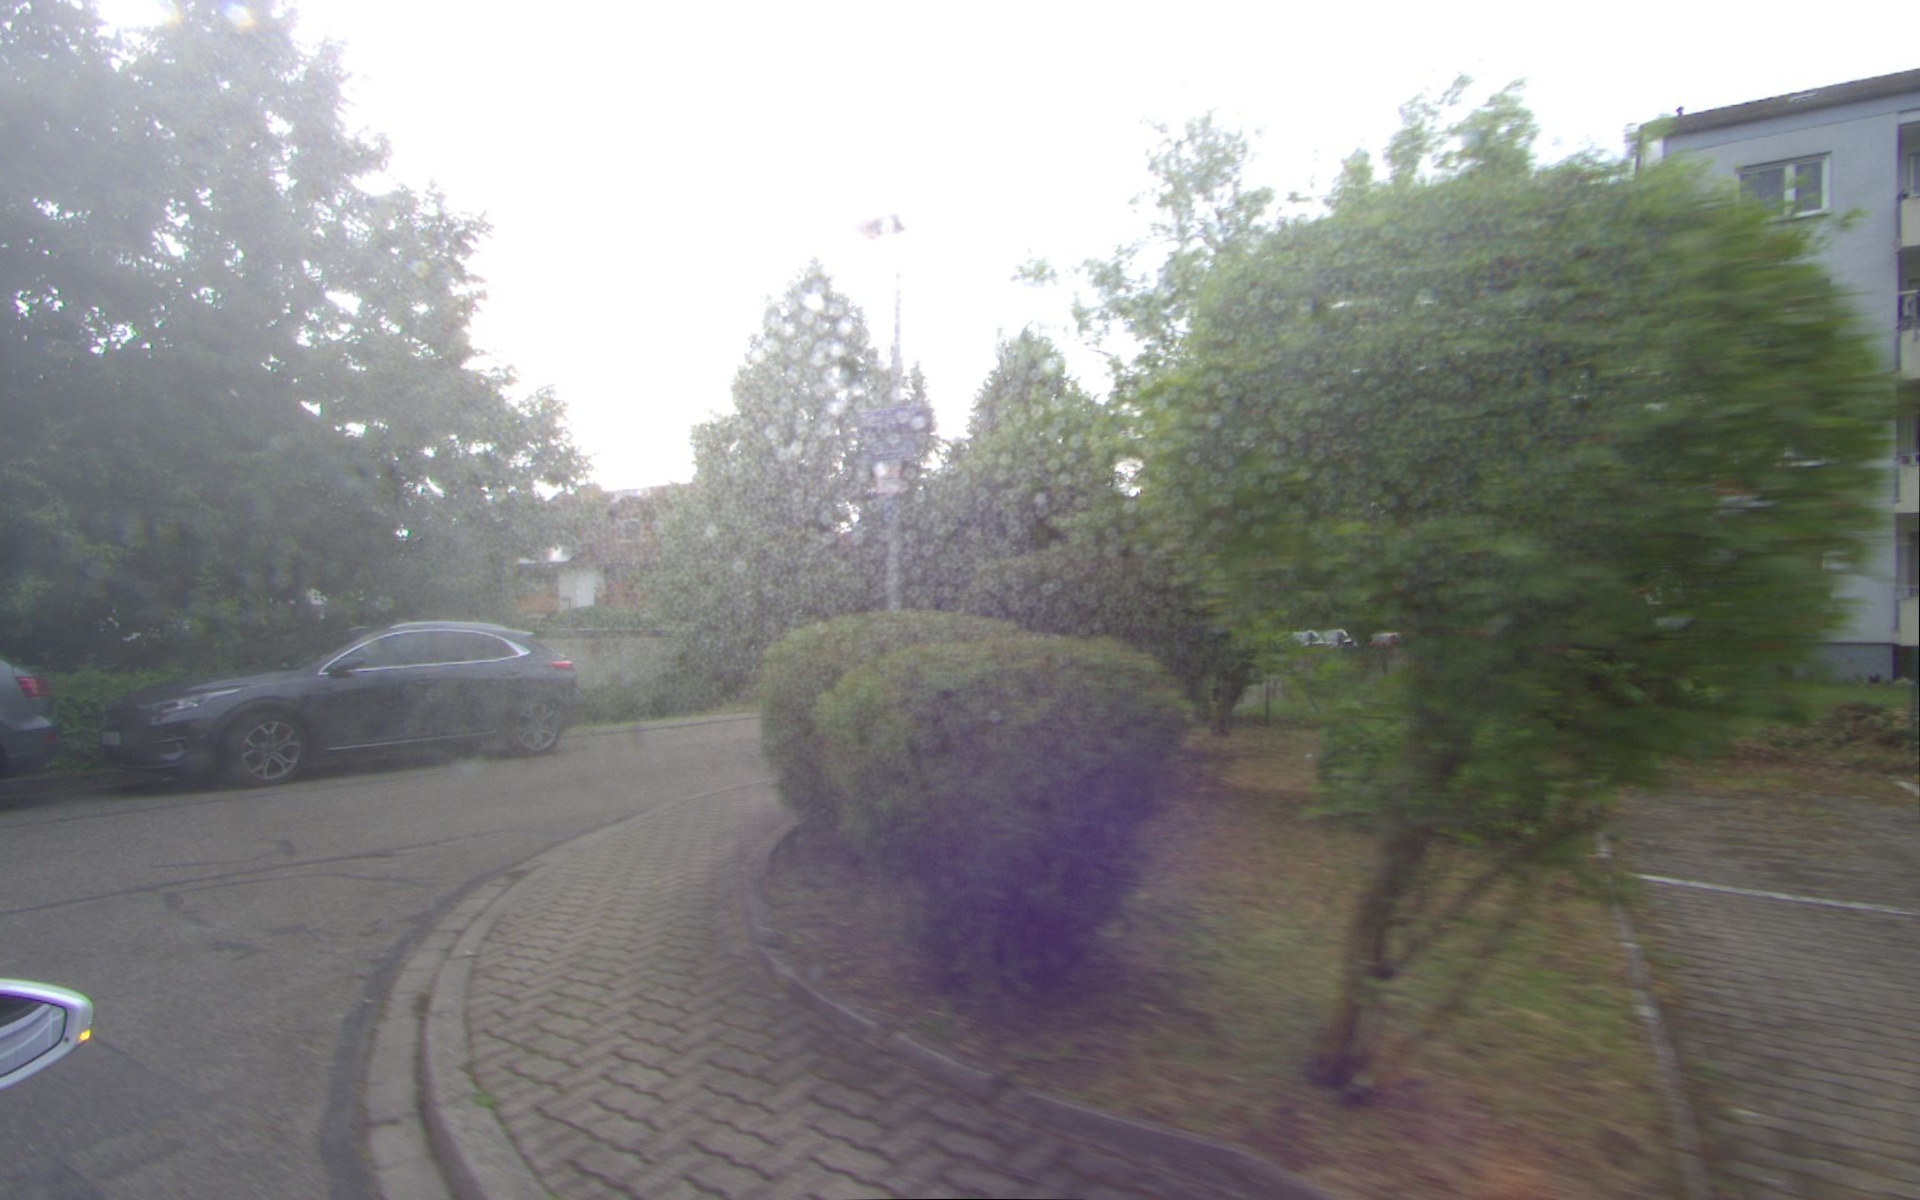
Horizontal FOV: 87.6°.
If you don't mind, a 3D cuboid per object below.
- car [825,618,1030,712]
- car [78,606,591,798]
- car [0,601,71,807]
[{"bbox_3d":[-0.486,1.215,19.558,1.739,1.613,4.529,-3,-3,33],"label":"car"},{"bbox_3d":[-6.138,0.912,10.324,1.724,1.550,4.171,-2,-3,35],"label":"car"},{"bbox_3d":[-8.809,0.761,6.505,1.722,1.550,4.233,-2,-3,30],"label":"car"}]
